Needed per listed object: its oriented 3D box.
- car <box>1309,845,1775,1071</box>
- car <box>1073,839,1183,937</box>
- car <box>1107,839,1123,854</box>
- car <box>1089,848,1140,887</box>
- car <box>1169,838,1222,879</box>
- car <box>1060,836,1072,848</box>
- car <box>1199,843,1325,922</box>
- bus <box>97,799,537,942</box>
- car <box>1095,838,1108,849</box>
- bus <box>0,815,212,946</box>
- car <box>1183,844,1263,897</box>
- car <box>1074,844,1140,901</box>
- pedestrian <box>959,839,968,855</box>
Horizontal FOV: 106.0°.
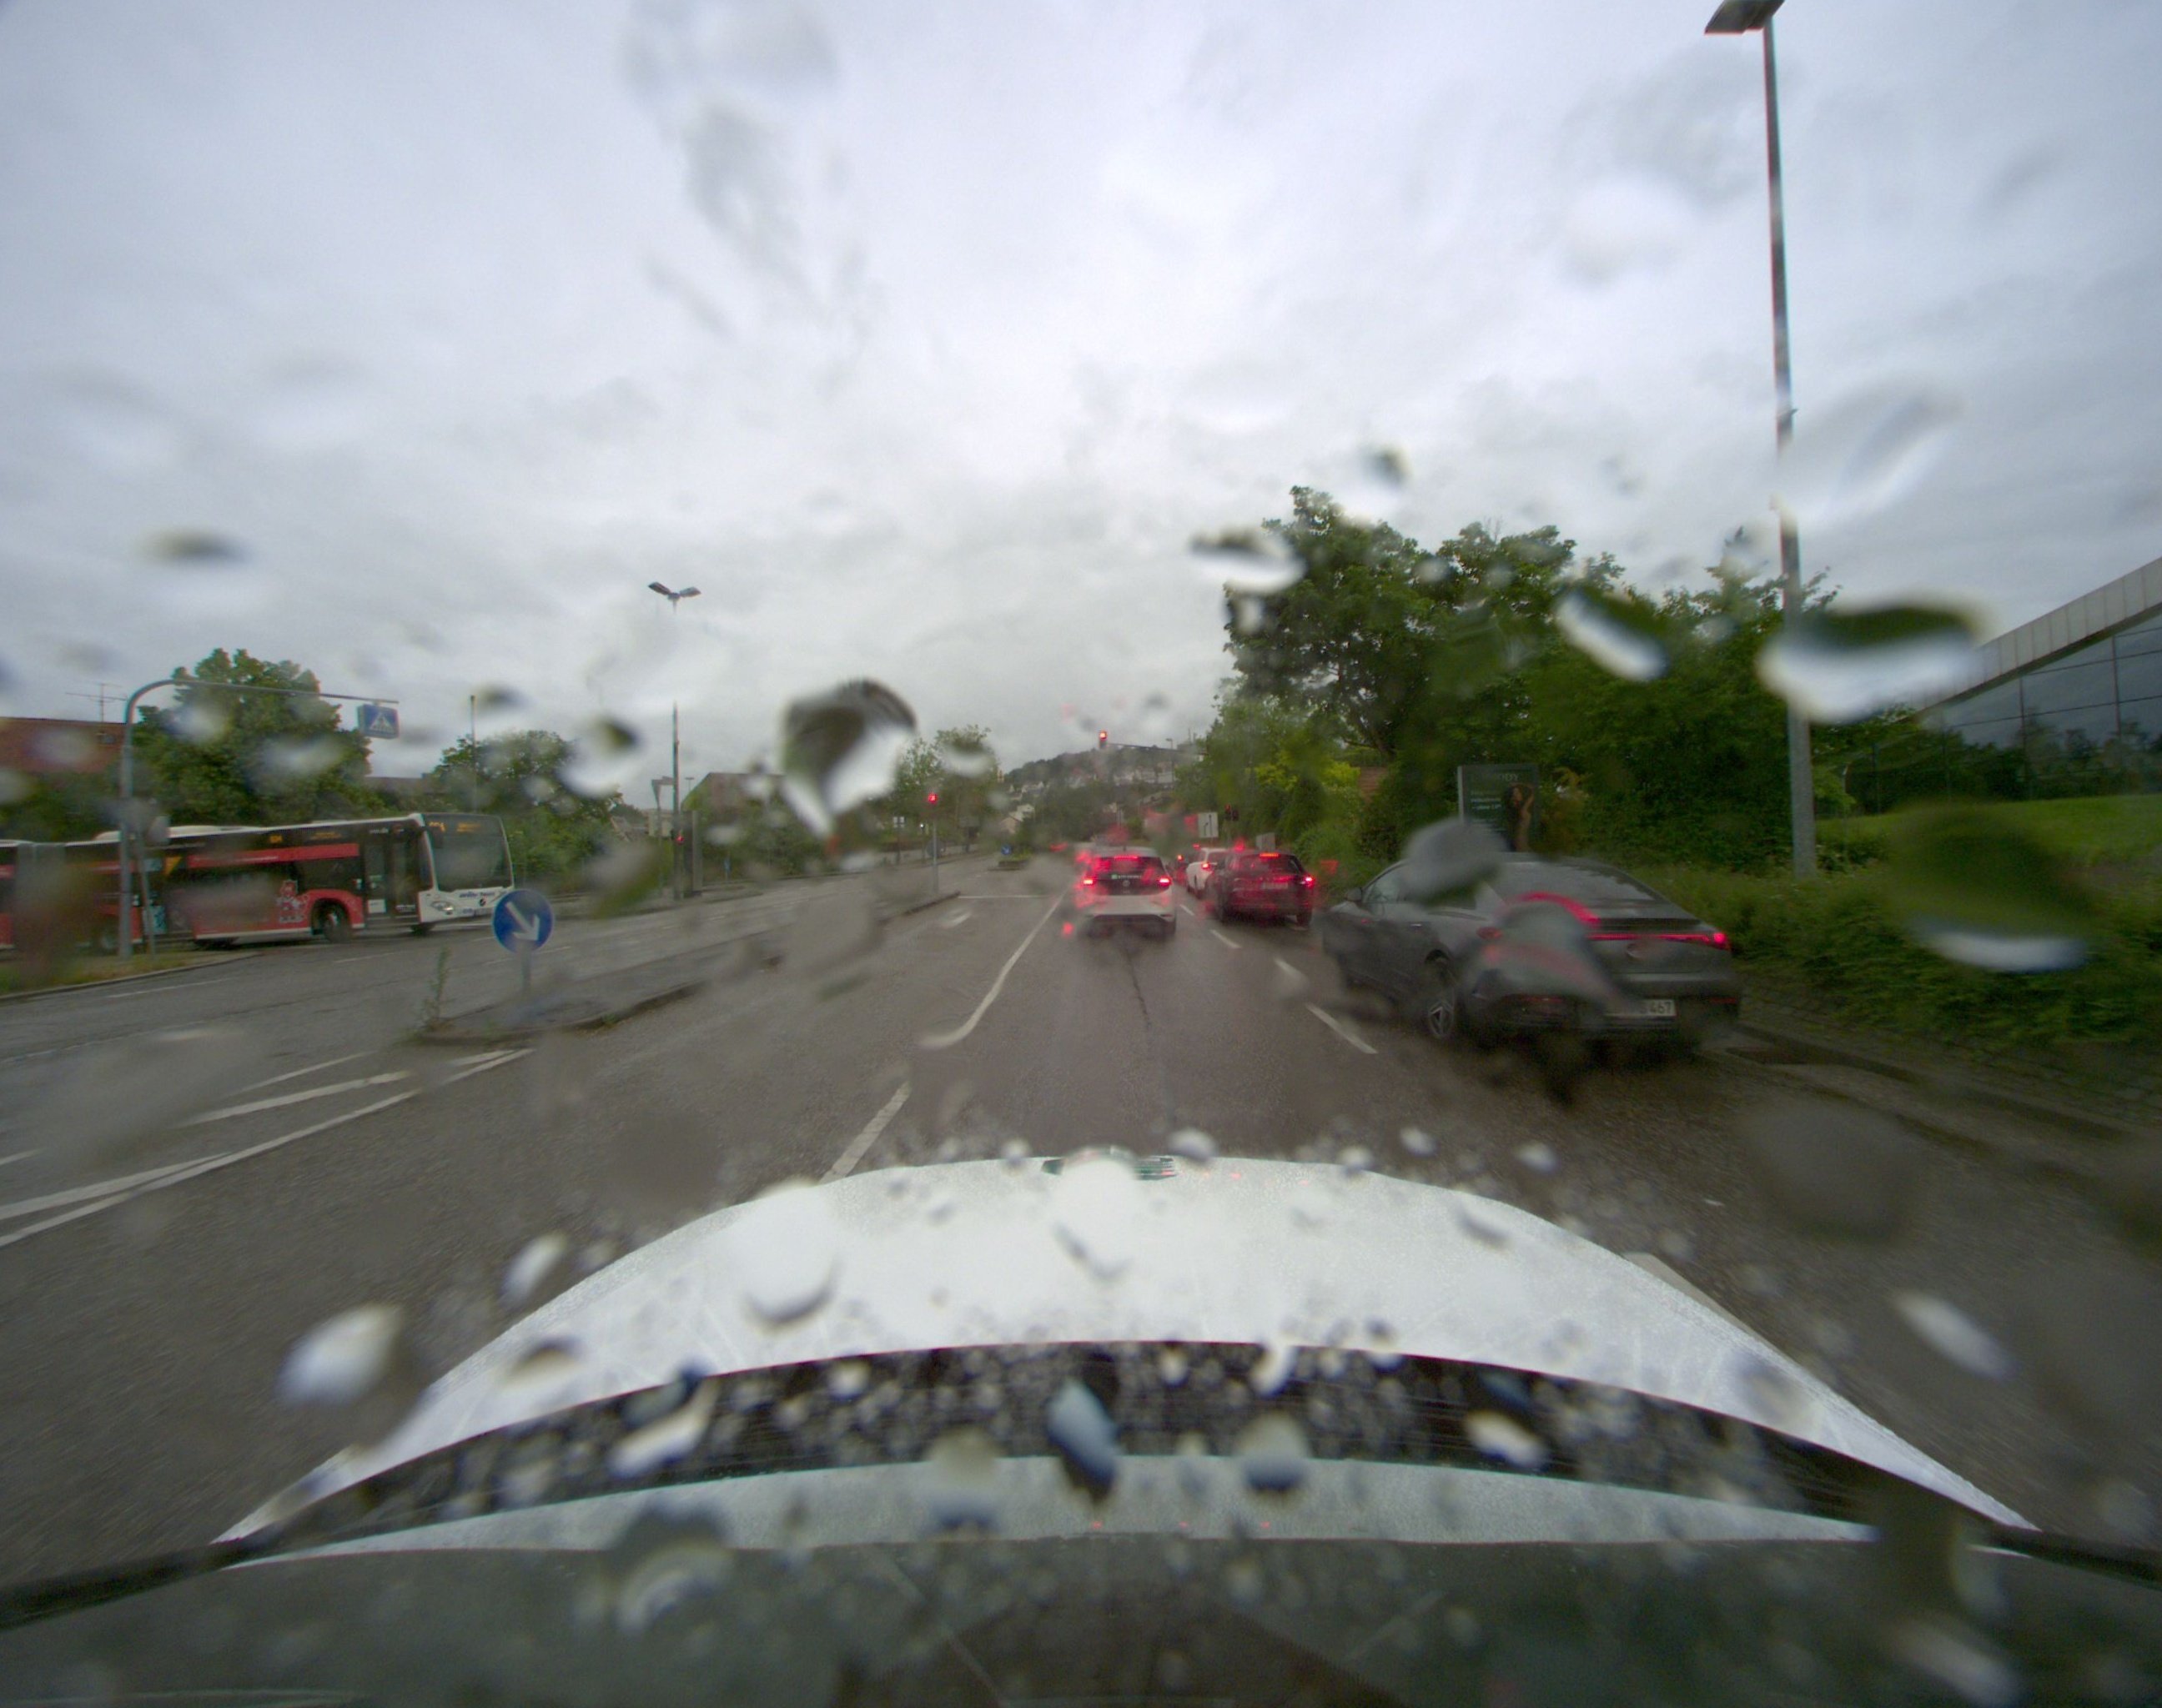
[{"bbox_3d":[3.694,0.654,7.749,1.831,1.466,4.810,0,1,1],"label":"car"},{"bbox_3d":[0.845,0.535,15.926,1.831,1.629,4.617,0,1,1],"label":"car"},{"bbox_3d":[3.904,-0.818,93.826,1.768,1.581,4.002,-3,0,2],"label":"car"},{"bbox_3d":[1.249,0.471,31.349,1.831,1.400,3.832,0,1,1],"label":"car"},{"bbox_3d":[4.601,0.174,33.317,1.768,1.581,4.002,0,0,2],"label":"car"},{"bbox_3d":[-2.840,-2.196,150.660,1.986,2.014,4.002,0,-1,2],"label":"car"},{"bbox_3d":[3.692,0.498,17.402,1.831,1.466,4.351,0,1,1],"label":"car"},{"bbox_3d":[-19.182,0.407,20.778,8.816,3.114,2.803,-2,0,3],"label":"bus"},{"bbox_3d":[3.076,-1.554,122.379,1.768,1.581,4.002,-3,0,2],"label":"car"},{"bbox_3d":[-28.706,0.757,20.707,9.328,3.114,2.779,-2,0,-7],"label":"bus"},{"bbox_3d":[4.258,0.436,24.974,1.831,1.466,4.118,0,1,1],"label":"car"},{"bbox_3d":[0.778,0.494,24.760,1.831,1.554,4.176,0,1,1],"label":"car"},{"bbox_3d":[-12.360,-0.718,85.795,0.757,1.568,0.825,-4,0,1],"label":"pedestrian"}]
